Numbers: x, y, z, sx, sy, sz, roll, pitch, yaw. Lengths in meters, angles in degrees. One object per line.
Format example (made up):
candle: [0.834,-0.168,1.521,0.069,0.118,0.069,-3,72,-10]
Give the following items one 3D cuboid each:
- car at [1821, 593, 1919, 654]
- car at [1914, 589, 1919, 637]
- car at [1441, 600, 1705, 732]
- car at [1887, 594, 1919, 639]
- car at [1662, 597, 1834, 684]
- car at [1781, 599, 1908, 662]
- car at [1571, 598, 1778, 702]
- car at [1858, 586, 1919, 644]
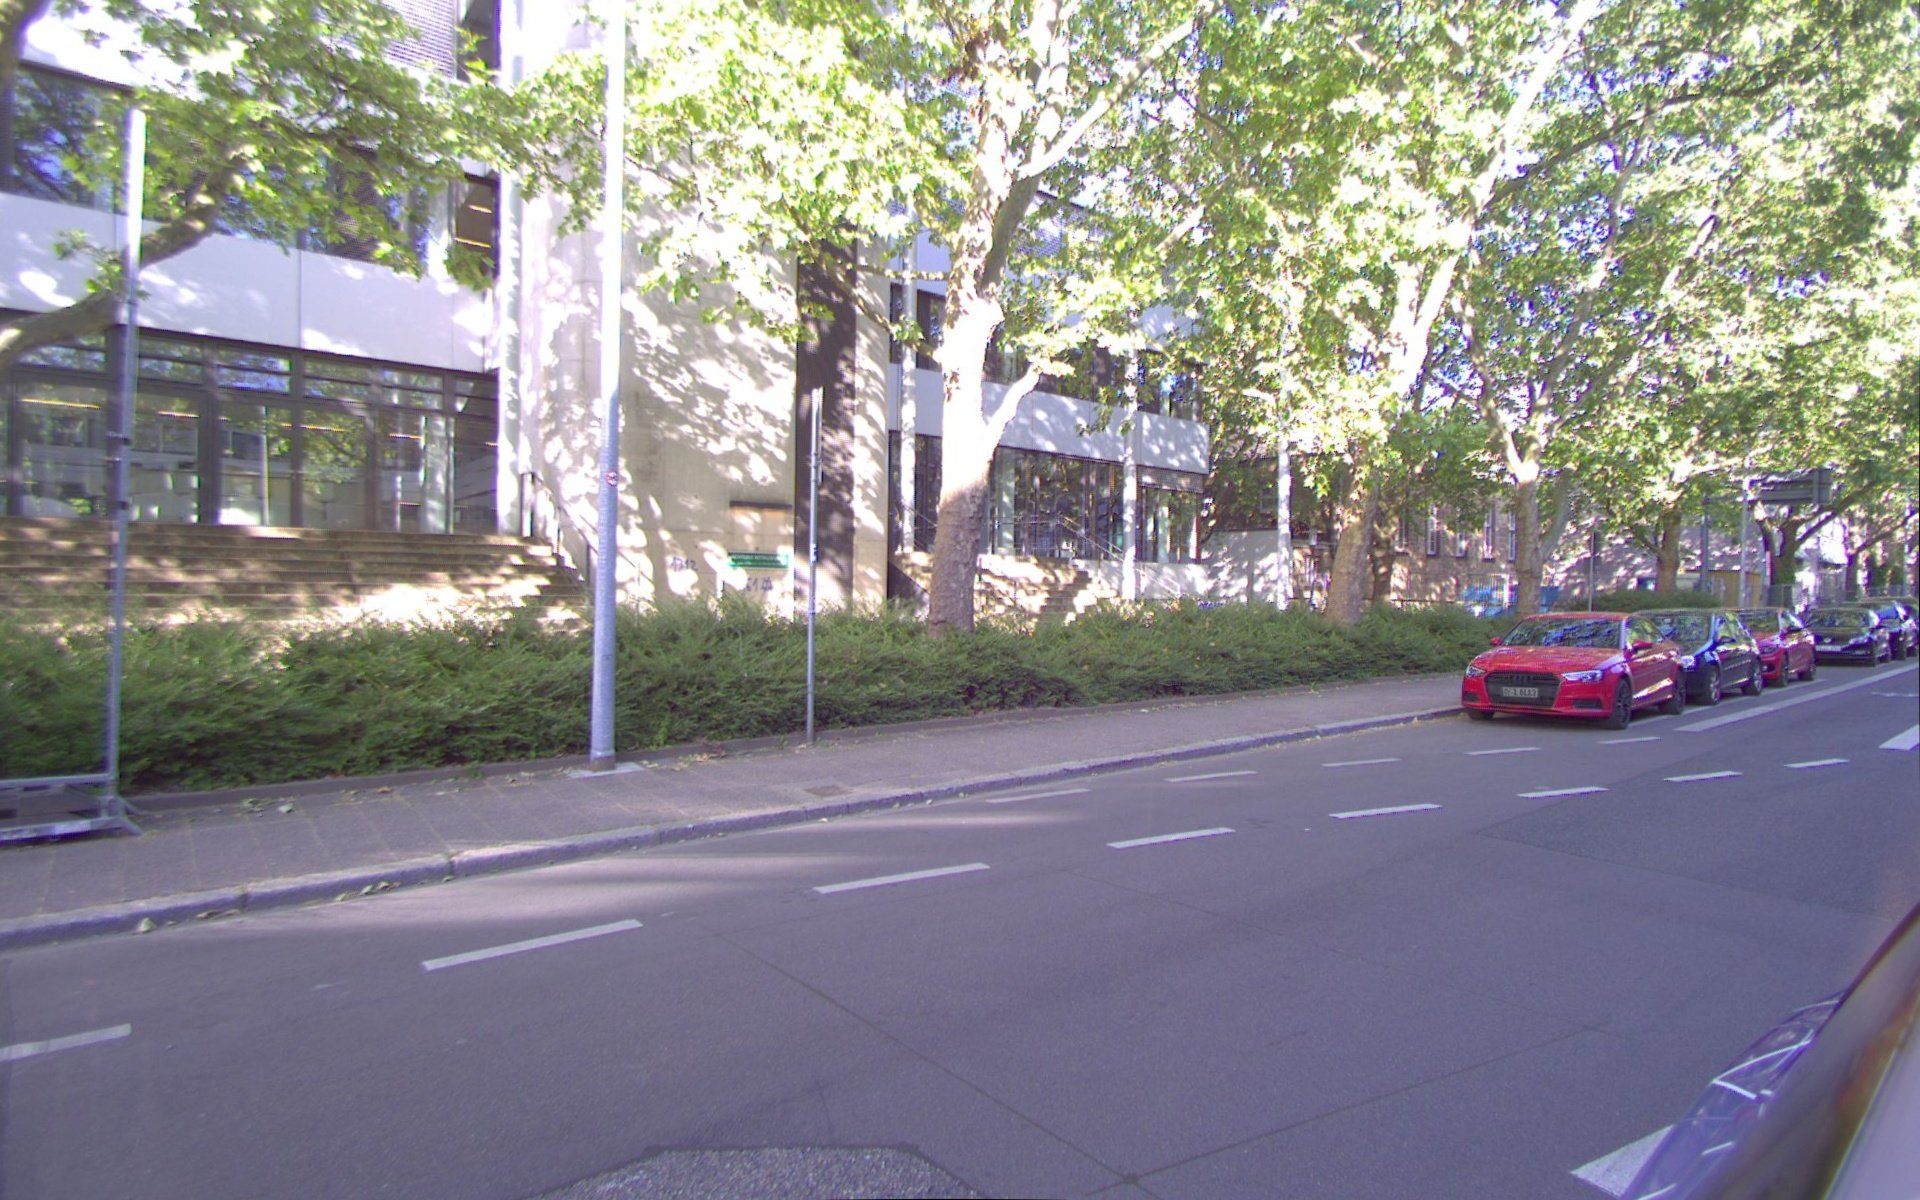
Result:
car: [26.529,0.607,29.171,4.070,1.621,1.997,-1,0,-41]
car: [39.638,0.483,40.311,3.930,1.872,1.997,-1,0,-41]
car: [8.262,0.751,13.515,3.930,1.443,1.906,-1,1,-41]
car: [35.957,0.579,37.435,4.070,1.585,1.997,-1,1,-41]
car: [15.650,0.717,20.042,3.762,1.517,1.997,-1,1,-41]
car: [22.805,0.722,26.052,3.527,1.474,1.997,-1,1,-41]
car: [11.798,0.728,16.653,3.581,1.478,1.997,-1,1,-41]
car: [31.270,0.448,33.301,4.493,1.809,1.997,-1,0,-41]
